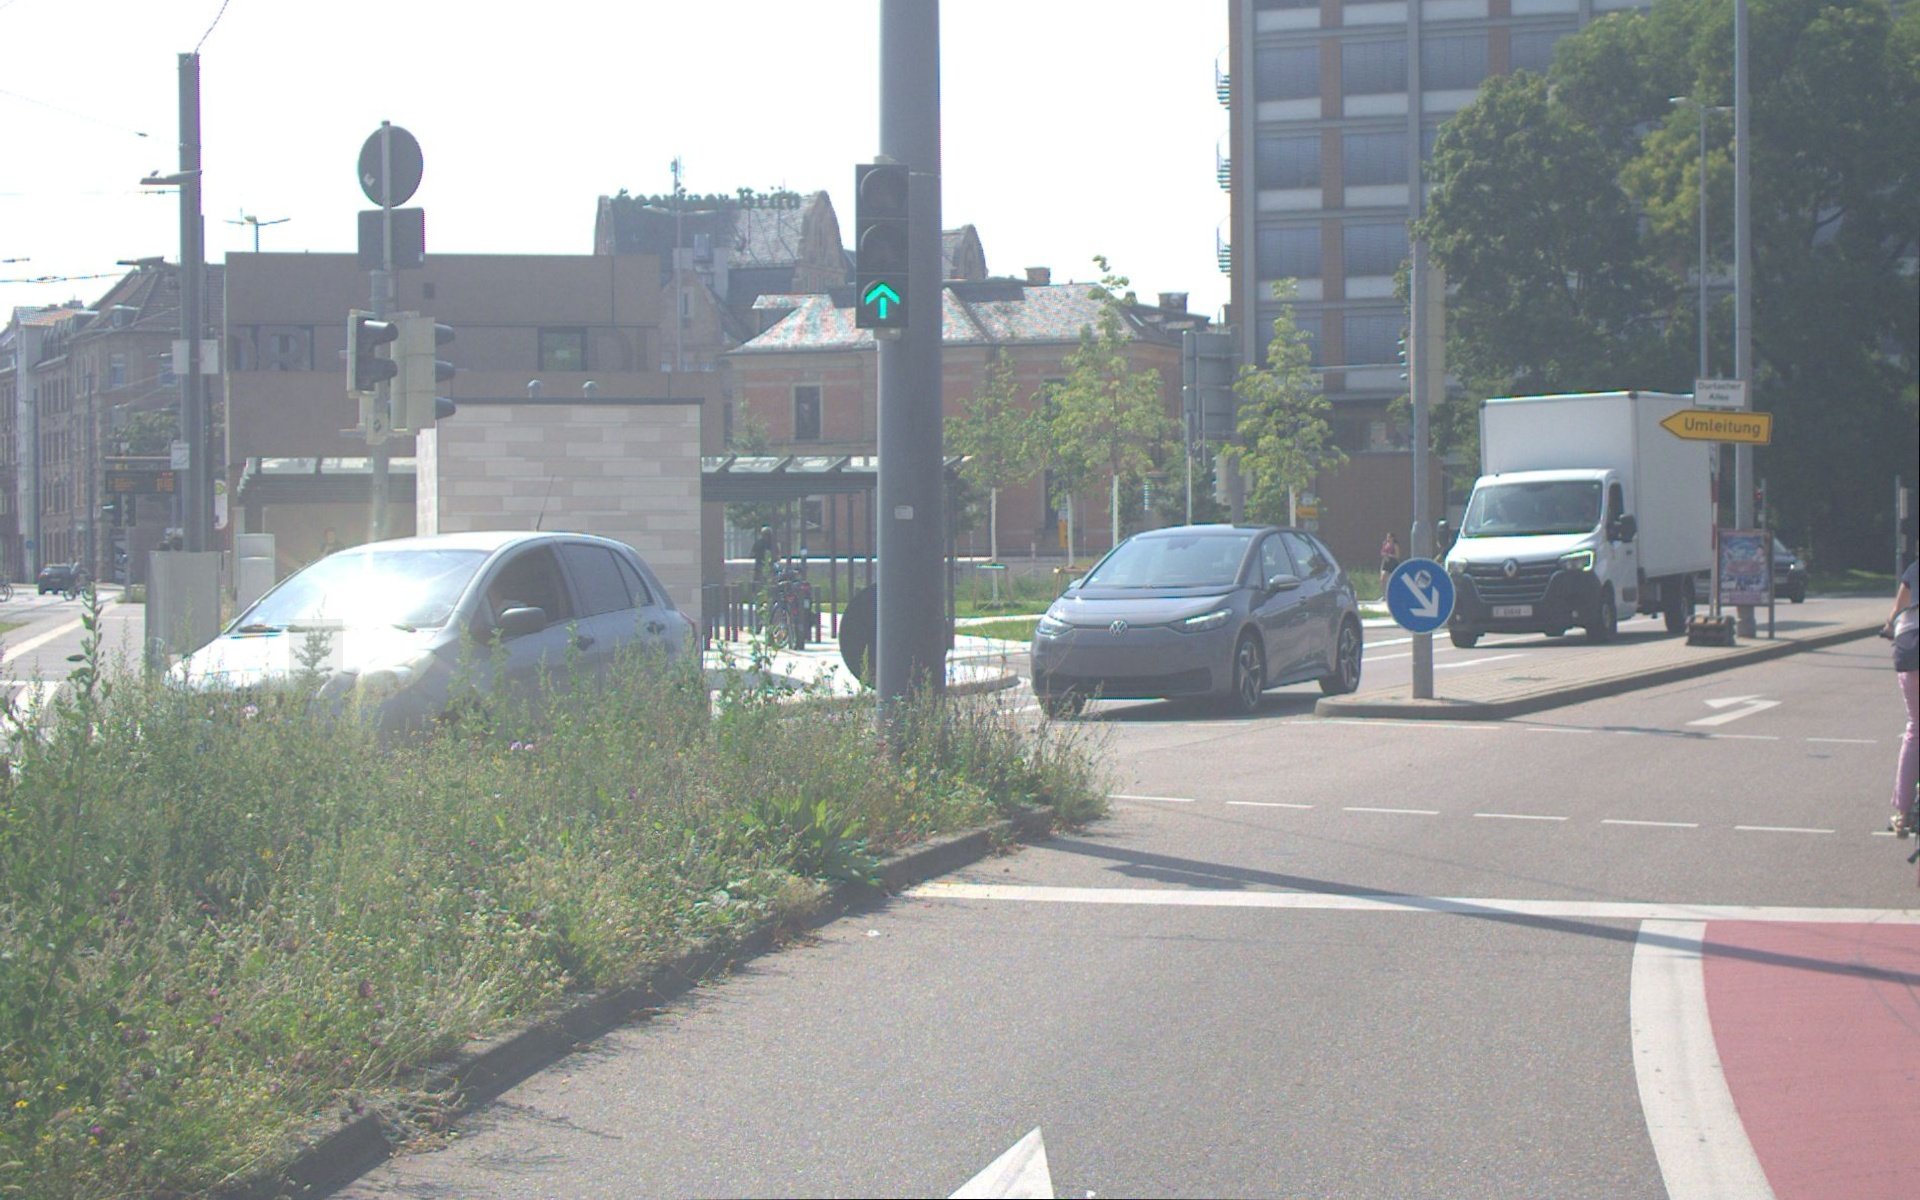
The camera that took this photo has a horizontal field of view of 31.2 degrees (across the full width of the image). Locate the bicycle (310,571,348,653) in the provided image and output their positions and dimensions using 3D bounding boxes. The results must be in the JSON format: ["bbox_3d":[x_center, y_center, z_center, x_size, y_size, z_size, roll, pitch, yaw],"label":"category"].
[{"bbox_3d":[-8.164,0.148,44.492,0.464,1.029,1.548,0,1,-10],"label":"bicycle"}]

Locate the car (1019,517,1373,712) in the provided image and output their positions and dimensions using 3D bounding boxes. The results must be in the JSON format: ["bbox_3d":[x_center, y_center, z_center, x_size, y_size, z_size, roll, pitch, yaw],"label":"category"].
[{"bbox_3d":[2.080,0.076,29.138,1.698,1.525,4.178,0,1,23],"label":"car"}]

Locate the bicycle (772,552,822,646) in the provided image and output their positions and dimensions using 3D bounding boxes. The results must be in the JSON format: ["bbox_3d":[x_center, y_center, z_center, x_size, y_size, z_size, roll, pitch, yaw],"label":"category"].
[{"bbox_3d":[-2.158,-0.026,45.622,0.604,1.206,1.811,0,1,-1],"label":"bicycle"}]

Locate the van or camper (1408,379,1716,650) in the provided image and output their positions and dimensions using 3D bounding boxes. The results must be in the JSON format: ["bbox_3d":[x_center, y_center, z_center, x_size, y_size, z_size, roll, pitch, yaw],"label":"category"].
[{"bbox_3d":[8.087,-1.102,45.467,2.403,3.295,7.182,0,1,23],"label":"van or camper"}]

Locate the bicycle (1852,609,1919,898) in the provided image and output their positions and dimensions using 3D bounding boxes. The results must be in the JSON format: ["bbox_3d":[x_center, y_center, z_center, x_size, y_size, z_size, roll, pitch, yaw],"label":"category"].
[{"bbox_3d":[4.303,0.638,15.088,0.604,1.159,1.809,0,1,19],"label":"bicycle"}]

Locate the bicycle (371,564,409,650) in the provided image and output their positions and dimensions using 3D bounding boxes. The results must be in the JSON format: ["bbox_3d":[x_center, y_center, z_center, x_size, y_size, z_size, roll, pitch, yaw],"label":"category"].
[{"bbox_3d":[-7.414,0.078,44.658,0.464,1.097,1.423,0,1,-10],"label":"bicycle"}]

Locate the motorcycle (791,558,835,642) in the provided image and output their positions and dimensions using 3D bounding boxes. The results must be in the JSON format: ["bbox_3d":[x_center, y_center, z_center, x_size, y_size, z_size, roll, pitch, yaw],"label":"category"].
[{"bbox_3d":[-2.185,-0.016,51.231,0.604,1.206,2.254,0,1,-1],"label":"motorcycle"}]

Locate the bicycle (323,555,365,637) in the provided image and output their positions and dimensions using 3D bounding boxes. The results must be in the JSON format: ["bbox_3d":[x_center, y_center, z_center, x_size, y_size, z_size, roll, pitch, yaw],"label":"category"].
[{"bbox_3d":[-9.549,-0.076,53.222,0.605,1.249,2.623,0,1,-11],"label":"bicycle"}]

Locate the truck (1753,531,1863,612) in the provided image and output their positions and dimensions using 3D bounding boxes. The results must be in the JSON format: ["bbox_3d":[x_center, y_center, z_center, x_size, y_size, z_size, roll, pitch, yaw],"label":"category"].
[{"bbox_3d":[16.265,-0.567,65.869,1.556,1.499,3.616,0,1,22],"label":"truck"}]

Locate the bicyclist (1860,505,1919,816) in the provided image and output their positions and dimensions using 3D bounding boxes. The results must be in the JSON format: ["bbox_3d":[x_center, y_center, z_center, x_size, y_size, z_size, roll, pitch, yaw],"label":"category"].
[{"bbox_3d":[4.275,0.253,15.007,0.603,1.330,0.659,0,1,20],"label":"bicyclist"}]

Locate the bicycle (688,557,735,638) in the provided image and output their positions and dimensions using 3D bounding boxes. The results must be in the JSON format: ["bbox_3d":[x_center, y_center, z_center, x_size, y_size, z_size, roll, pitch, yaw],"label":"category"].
[{"bbox_3d":[-3.780,-0.048,52.393,0.604,1.206,1.811,0,1,-1],"label":"bicycle"}]

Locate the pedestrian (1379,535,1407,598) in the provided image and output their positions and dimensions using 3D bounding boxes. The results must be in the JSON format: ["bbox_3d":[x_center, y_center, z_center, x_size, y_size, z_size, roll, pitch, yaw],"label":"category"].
[{"bbox_3d":[10.702,-0.820,85.033,0.529,1.547,0.417,-1,1,-23],"label":"pedestrian"}]

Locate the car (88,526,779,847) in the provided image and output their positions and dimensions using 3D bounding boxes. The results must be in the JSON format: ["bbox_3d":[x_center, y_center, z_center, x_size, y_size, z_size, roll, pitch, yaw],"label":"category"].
[{"bbox_3d":[-2.689,0.370,18.643,1.652,1.525,4.320,0,1,23],"label":"car"}]
